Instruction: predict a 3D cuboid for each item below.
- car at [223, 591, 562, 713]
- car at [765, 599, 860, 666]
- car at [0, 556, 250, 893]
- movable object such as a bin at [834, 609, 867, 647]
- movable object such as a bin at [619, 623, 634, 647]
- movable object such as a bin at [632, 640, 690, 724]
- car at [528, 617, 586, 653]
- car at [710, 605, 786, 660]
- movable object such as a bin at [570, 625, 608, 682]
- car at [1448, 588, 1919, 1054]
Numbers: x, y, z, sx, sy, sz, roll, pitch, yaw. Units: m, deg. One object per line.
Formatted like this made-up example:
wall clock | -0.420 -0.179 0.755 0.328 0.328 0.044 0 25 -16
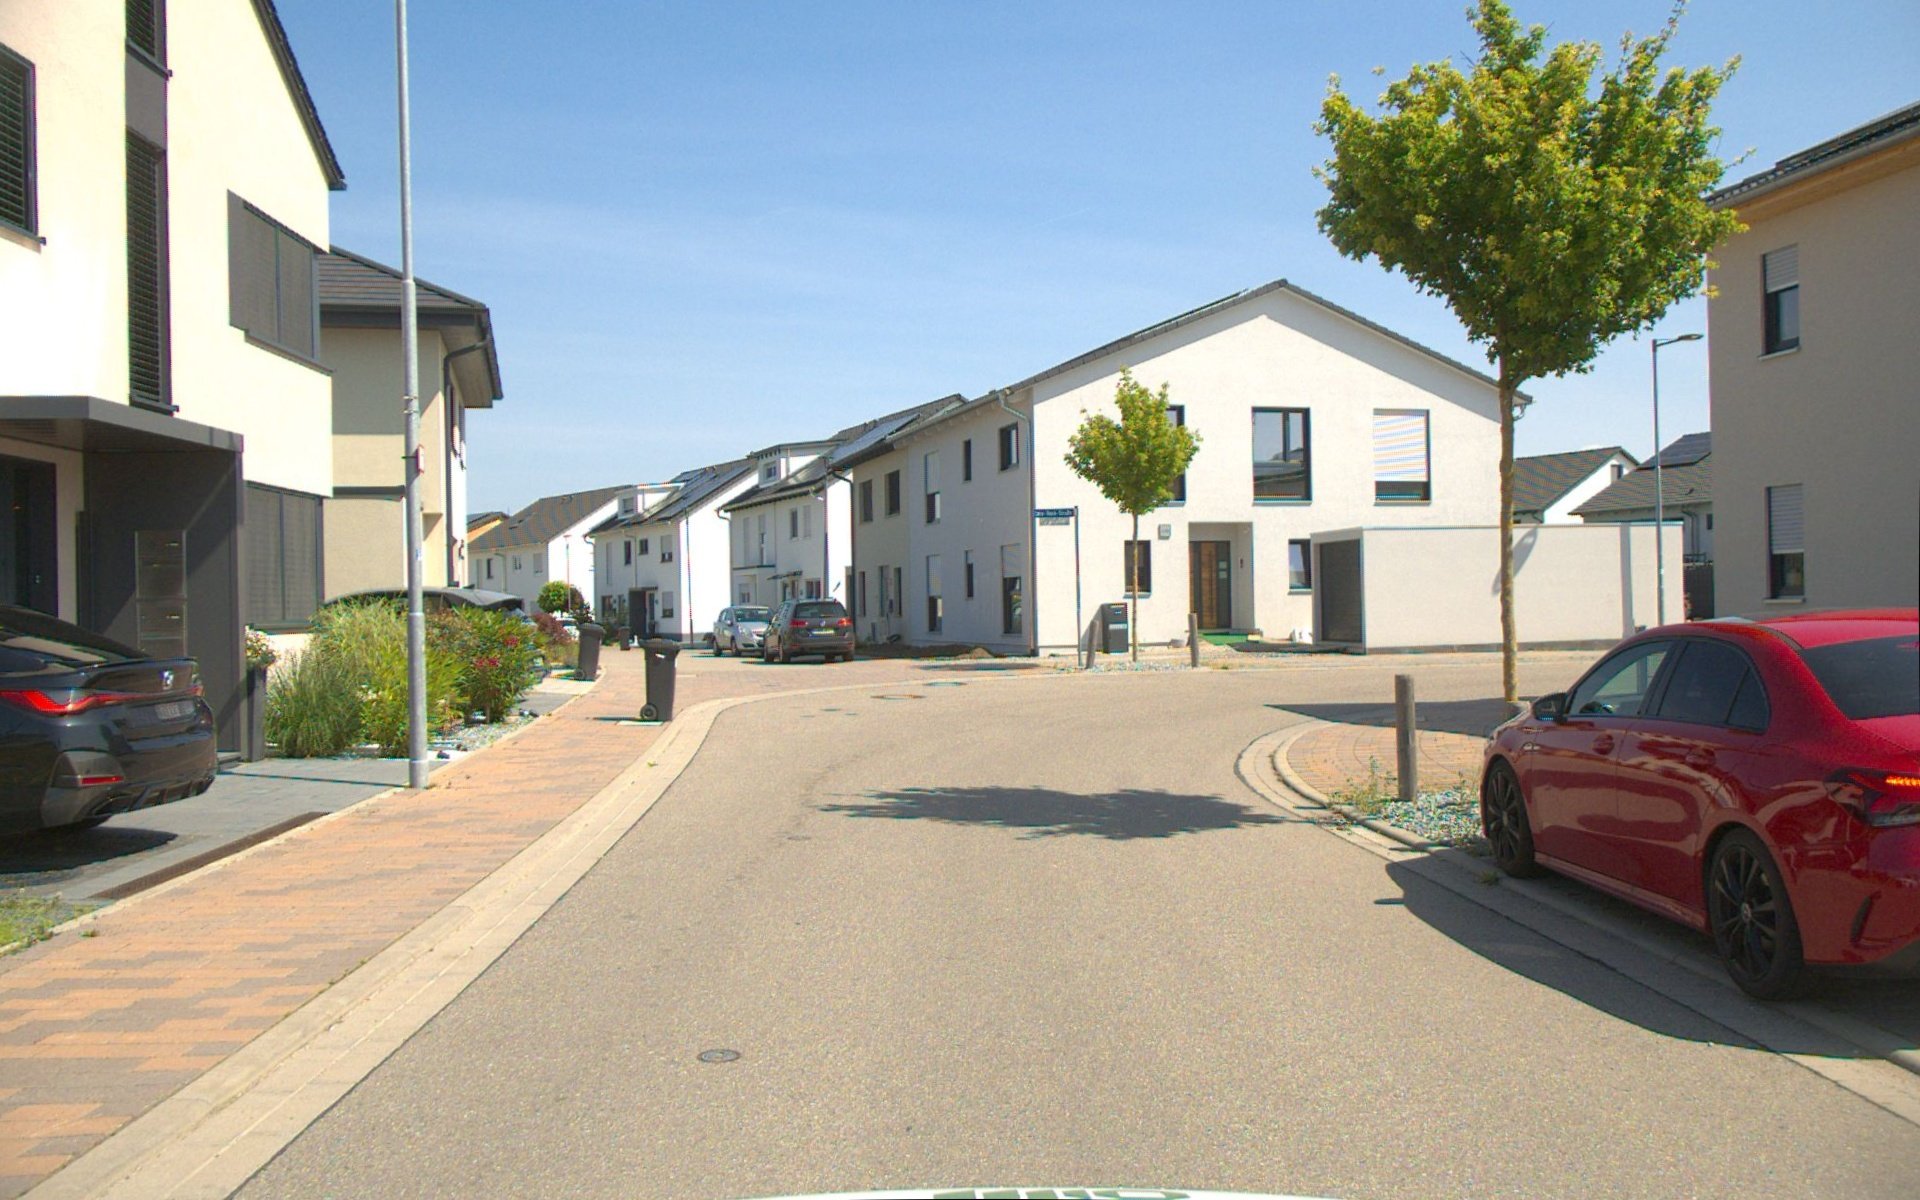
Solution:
car | -7.515 0.666 22.151 3.905 1.512 1.754 -1 0 0
car | -3.553 0.745 39.228 1.697 1.447 3.986 -2 0 -13
car | -6.424 0.580 9.022 4.287 1.660 1.770 1 0 -2
movable object such as a bin | -3.259 0.819 49.261 0.772 1.068 0.800 -4 0 -18
movable object such as a bin | -13.665 1.420 67.702 0.549 0.965 0.245 -1 0 -20
movable object such as a bin | -3.497 0.950 19.364 0.523 0.952 0.526 0 0 7
car | -19.810 1.713 81.260 1.761 1.624 3.960 -2 0 -29
car | -6.278 0.936 48.714 1.650 1.489 3.928 -2 0 -15
movable object such as a bin | -6.243 0.901 27.847 0.604 0.943 0.422 2 -2 -12
car | 3.853 0.713 7.674 1.727 1.463 4.518 -3 0 -1
